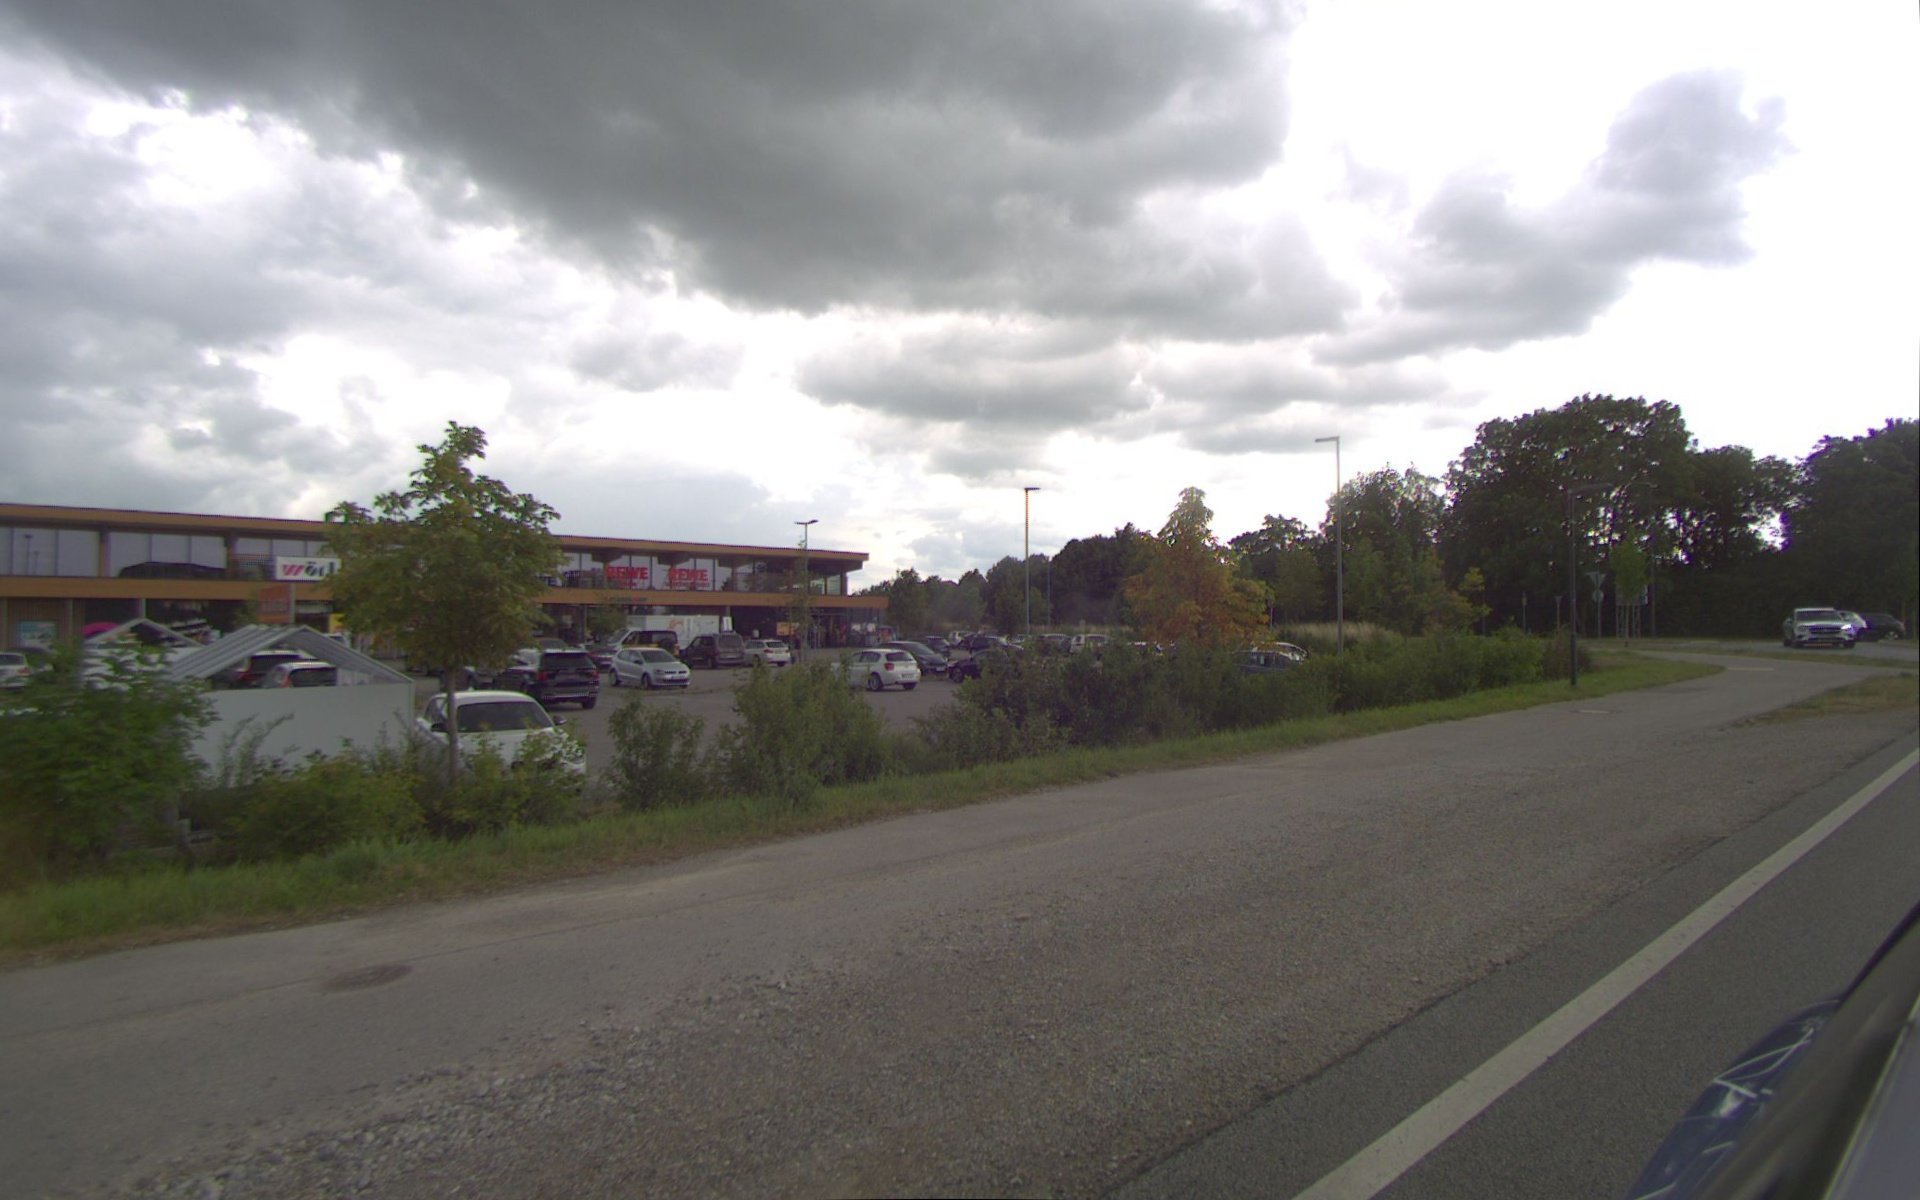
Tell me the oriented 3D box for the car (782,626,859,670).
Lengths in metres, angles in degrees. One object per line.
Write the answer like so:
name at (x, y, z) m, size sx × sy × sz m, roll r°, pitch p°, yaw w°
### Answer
car at (-6.841, 2.299, 49.344) m, size 1.962 × 1.894 × 4.273 m, roll 1°, pitch 0°, yaw -36°

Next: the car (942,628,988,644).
car at (0.433, 3.322, 92.514) m, size 3.916 × 1.377 × 1.705 m, roll 1°, pitch 0°, yaw -13°

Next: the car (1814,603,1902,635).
car at (44.492, 0.922, 50.148) m, size 3.693 × 1.538 × 2.003 m, roll 1°, pitch 0°, yaw -25°

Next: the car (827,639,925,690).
car at (-3.050, 2.260, 36.210) m, size 1.723 × 1.552 × 3.554 m, roll 1°, pitch 0°, yaw -42°

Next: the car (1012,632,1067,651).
car at (6.225, 3.222, 78.930) m, size 3.916 × 1.377 × 1.705 m, roll 1°, pitch 0°, yaw -13°

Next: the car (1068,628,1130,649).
car at (9.651, 2.651, 70.494) m, size 3.916 × 1.377 × 1.705 m, roll 1°, pitch 0°, yaw -13°

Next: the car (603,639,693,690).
car at (-11.603, 2.339, 37.459) m, size 1.962 × 1.571 × 4.131 m, roll 1°, pitch 0°, yaw -36°

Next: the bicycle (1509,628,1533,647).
bicycle at (30.672, 2.021, 55.374) m, size 0.557 × 0.974 × 1.301 m, roll 1°, pitch 0°, yaw 0°

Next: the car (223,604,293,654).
car at (-31.161, 1.231, 44.853) m, size 1.965 × 2.039 × 5.137 m, roll 1°, pitch 0°, yaw -41°

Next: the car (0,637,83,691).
car at (-35.141, 2.394, 38.815) m, size 1.908 × 1.772 × 3.999 m, roll 1°, pitch 0°, yaw -36°

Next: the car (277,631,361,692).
car at (-25.116, 2.331, 39.575) m, size 1.965 × 2.039 × 5.137 m, roll 1°, pitch 0°, yaw -41°

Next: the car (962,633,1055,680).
car at (1.867, 2.214, 39.620) m, size 1.771 × 1.728 × 3.385 m, roll 1°, pitch -3°, yaw -42°

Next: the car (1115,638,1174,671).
car at (9.318, 2.715, 50.964) m, size 1.828 × 1.377 × 3.960 m, roll 1°, pitch 0°, yaw 28°

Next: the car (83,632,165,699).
car at (-29.541, 2.249, 35.876) m, size 1.962 × 2.039 × 3.999 m, roll 1°, pitch 0°, yaw -36°

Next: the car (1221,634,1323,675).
car at (14.232, 2.480, 46.196) m, size 4.154 × 1.738 × 1.705 m, roll 1°, pitch 0°, yaw -13°

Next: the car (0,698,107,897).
car at (-10.540, 2.065, 11.125) m, size 1.647 × 1.557 × 3.761 m, roll 1°, pitch 0°, yaw -42°

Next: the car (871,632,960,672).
car at (-1.999, 2.267, 44.634) m, size 1.962 × 1.504 × 4.131 m, roll 1°, pitch 0°, yaw -36°

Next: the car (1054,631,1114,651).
car at (9.008, 2.969, 73.641) m, size 3.916 × 1.377 × 1.705 m, roll 1°, pitch 0°, yaw -13°

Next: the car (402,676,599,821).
car at (-6.995, 2.093, 15.226) m, size 1.647 × 1.557 × 3.761 m, roll 1°, pitch 0°, yaw -42°

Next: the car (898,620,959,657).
car at (-1.962, 2.311, 61.699) m, size 1.961 × 2.039 × 4.002 m, roll 1°, pitch 0°, yaw -32°

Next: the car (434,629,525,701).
car at (-15.576, 2.022, 32.695) m, size 1.962 × 2.039 × 3.999 m, roll 1°, pitch 0°, yaw -36°

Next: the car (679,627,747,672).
car at (-12.673, 2.495, 51.842) m, size 2.032 × 2.039 × 3.999 m, roll 1°, pitch 0°, yaw -36°

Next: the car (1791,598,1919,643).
car at (36.280, 0.791, 40.678) m, size 3.932 × 1.705 × 1.996 m, roll 1°, pitch 0°, yaw 8°

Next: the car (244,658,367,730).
car at (-15.999, 2.208, 24.665) m, size 1.965 × 1.461 × 3.992 m, roll 1°, pitch -2°, yaw -41°

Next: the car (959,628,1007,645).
car at (2.060, 3.221, 89.690) m, size 3.916 × 1.377 × 1.705 m, roll 1°, pitch 0°, yaw -13°

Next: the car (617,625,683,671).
car at (-15.461, 2.336, 50.378) m, size 1.962 × 2.039 × 3.999 m, roll 1°, pitch 0°, yaw -36°

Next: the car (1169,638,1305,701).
car at (8.900, 2.178, 32.760) m, size 1.629 × 1.727 × 3.993 m, roll 1°, pitch 0°, yaw -42°

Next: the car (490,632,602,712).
car at (-11.684, 1.922, 28.422) m, size 1.962 × 1.894 × 4.273 m, roll 1°, pitch 0°, yaw -36°

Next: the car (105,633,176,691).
car at (-32.794, 2.434, 40.594) m, size 1.962 × 2.039 × 3.999 m, roll 1°, pitch 0°, yaw -36°

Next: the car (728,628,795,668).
car at (-10.735, 2.536, 54.497) m, size 2.032 × 1.871 × 3.999 m, roll 1°, pitch 0°, yaw -36°

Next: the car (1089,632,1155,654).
car at (10.716, 2.853, 66.983) m, size 3.916 × 1.377 × 1.705 m, roll 1°, pitch 0°, yaw -13°

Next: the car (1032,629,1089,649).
car at (7.542, 2.944, 76.042) m, size 3.916 × 1.377 × 1.705 m, roll 1°, pitch 0°, yaw -13°

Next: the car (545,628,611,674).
car at (-18.076, 2.386, 47.764) m, size 1.962 × 2.040 × 3.997 m, roll 1°, pitch -3°, yaw -36°

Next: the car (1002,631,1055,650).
car at (5.485, 3.269, 81.698) m, size 3.916 × 1.377 × 1.705 m, roll 1°, pitch 0°, yaw -13°

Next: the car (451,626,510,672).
car at (-24.274, 2.424, 51.157) m, size 1.962 × 2.039 × 3.999 m, roll 1°, pitch 0°, yaw -36°

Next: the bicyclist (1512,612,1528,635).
bicyclist at (30.678, 1.271, 55.445) m, size 0.545 × 1.259 × 0.659 m, roll 1°, pitch 0°, yaw -1°

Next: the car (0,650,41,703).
car at (-32.290, 2.565, 34.123) m, size 1.761 × 1.496 × 3.745 m, roll 1°, pitch 0°, yaw -40°
